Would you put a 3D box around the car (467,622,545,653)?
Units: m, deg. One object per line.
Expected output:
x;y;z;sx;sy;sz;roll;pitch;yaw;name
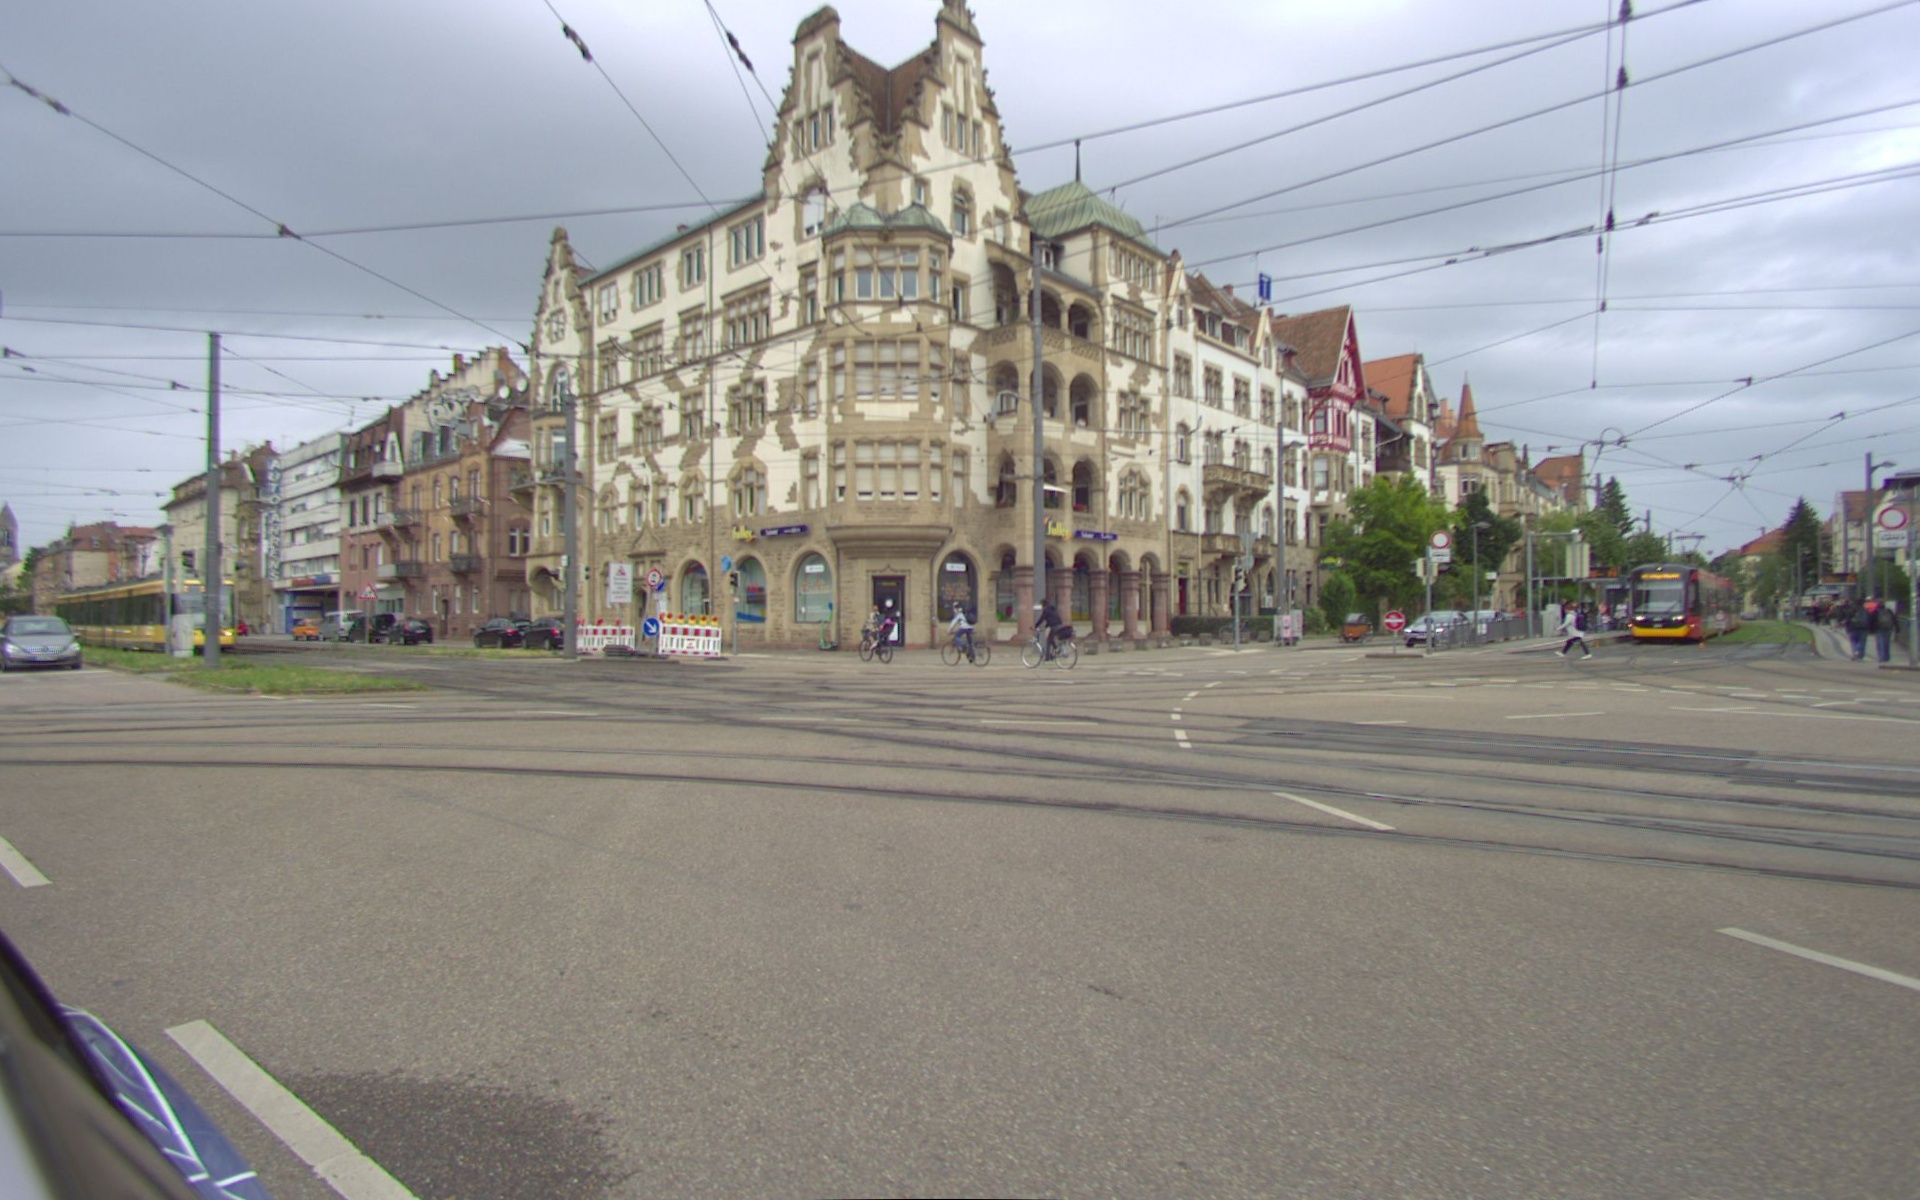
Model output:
-22.552;1.844;50.240;3.997;1.453;1.973;-1;-1;40;car

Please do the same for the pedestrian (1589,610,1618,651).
32.736;1.543;51.468;1.122;2.029;1.056;-1;-1;39;pedestrian

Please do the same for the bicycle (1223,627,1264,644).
13.283;1.661;47.369;1.804;0.744;0.554;-1;-1;43;bicycle

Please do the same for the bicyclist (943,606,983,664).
0.089;1.005;28.895;0.858;1.618;0.715;-3;-3;38;bicyclist

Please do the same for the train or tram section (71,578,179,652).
-43.785;0.781;52.806;13.620;3.463;2.616;-1;-1;43;train or tram section

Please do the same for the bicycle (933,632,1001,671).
0.191;1.464;28.802;1.907;1.045;0.715;-3;-3;39;bicycle

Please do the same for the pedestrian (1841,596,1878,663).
24.357;0.792;27.418;0.683;1.767;0.847;-1;-1;38;pedestrian

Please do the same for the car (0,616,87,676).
-27.439;1.321;30.003;3.774;1.652;1.844;-1;-1;41;car

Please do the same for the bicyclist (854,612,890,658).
-2.796;1.108;32.090;0.698;1.455;0.973;1;-2;-44;bicyclist

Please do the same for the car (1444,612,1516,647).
23.322;1.293;45.348;1.801;1.522;3.942;-1;-1;44;car

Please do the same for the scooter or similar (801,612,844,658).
-5.235;1.319;38.404;1.829;1.728;0.558;-1;-1;41;scooter or similar

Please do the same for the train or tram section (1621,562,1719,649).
33.539;0.329;47.494;2.602;3.540;13.927;-1;-1;40;train or tram section

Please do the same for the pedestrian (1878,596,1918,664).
24.936;0.786;26.918;0.683;1.767;0.847;-1;-1;38;pedestrian

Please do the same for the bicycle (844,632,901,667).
-2.793;1.558;32.080;0.698;1.045;2.024;1;-2;-44;bicycle

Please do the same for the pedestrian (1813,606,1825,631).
60.155;1.287;70.863;0.638;1.694;0.642;-1;-1;41;pedestrian

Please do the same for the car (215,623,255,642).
-64.118;2.868;89.511;3.997;1.608;1.973;-1;-1;40;car

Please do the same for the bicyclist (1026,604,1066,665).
2.220;0.874;26.127;0.764;1.532;0.741;-1;-1;38;bicyclist

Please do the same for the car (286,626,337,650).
-46.321;2.665;72.242;3.997;1.608;1.973;-1;-1;40;car

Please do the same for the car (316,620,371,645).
-41.346;2.171;67.822;3.997;1.608;1.973;-1;-1;40;car

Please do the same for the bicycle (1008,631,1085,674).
2.217;1.326;26.125;1.913;1.045;0.741;-1;-1;39;bicycle

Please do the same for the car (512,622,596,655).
-18.821;1.749;46.843;3.997;1.453;1.973;-1;-1;40;car

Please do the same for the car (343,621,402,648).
-36.696;2.115;63.161;3.997;1.608;1.973;-1;-1;40;car

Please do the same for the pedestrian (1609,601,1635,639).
36.527;1.103;55.852;1.122;2.029;1.056;-1;-1;39;pedestrian

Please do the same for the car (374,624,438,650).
-32.343;2.145;59.092;3.997;1.453;1.973;-1;-1;40;car

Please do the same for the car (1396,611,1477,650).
19.428;1.215;41.226;1.801;1.522;3.942;-1;-1;44;car

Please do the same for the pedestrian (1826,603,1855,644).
44.153;1.176;50.782;1.069;2.029;1.108;-1;-1;41;pedestrian

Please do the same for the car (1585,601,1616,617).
61.898;0.870;97.746;1.801;1.522;3.942;-1;-1;44;car

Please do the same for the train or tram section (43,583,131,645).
-53.739;0.871;62.117;13.620;3.463;2.616;-1;-1;43;train or tram section

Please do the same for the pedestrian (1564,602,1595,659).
18.740;0.912;30.606;0.704;1.699;0.600;-1;-1;41;pedestrian

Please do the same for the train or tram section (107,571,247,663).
-33.905;0.701;43.474;13.620;3.463;2.616;-1;-1;43;train or tram section
